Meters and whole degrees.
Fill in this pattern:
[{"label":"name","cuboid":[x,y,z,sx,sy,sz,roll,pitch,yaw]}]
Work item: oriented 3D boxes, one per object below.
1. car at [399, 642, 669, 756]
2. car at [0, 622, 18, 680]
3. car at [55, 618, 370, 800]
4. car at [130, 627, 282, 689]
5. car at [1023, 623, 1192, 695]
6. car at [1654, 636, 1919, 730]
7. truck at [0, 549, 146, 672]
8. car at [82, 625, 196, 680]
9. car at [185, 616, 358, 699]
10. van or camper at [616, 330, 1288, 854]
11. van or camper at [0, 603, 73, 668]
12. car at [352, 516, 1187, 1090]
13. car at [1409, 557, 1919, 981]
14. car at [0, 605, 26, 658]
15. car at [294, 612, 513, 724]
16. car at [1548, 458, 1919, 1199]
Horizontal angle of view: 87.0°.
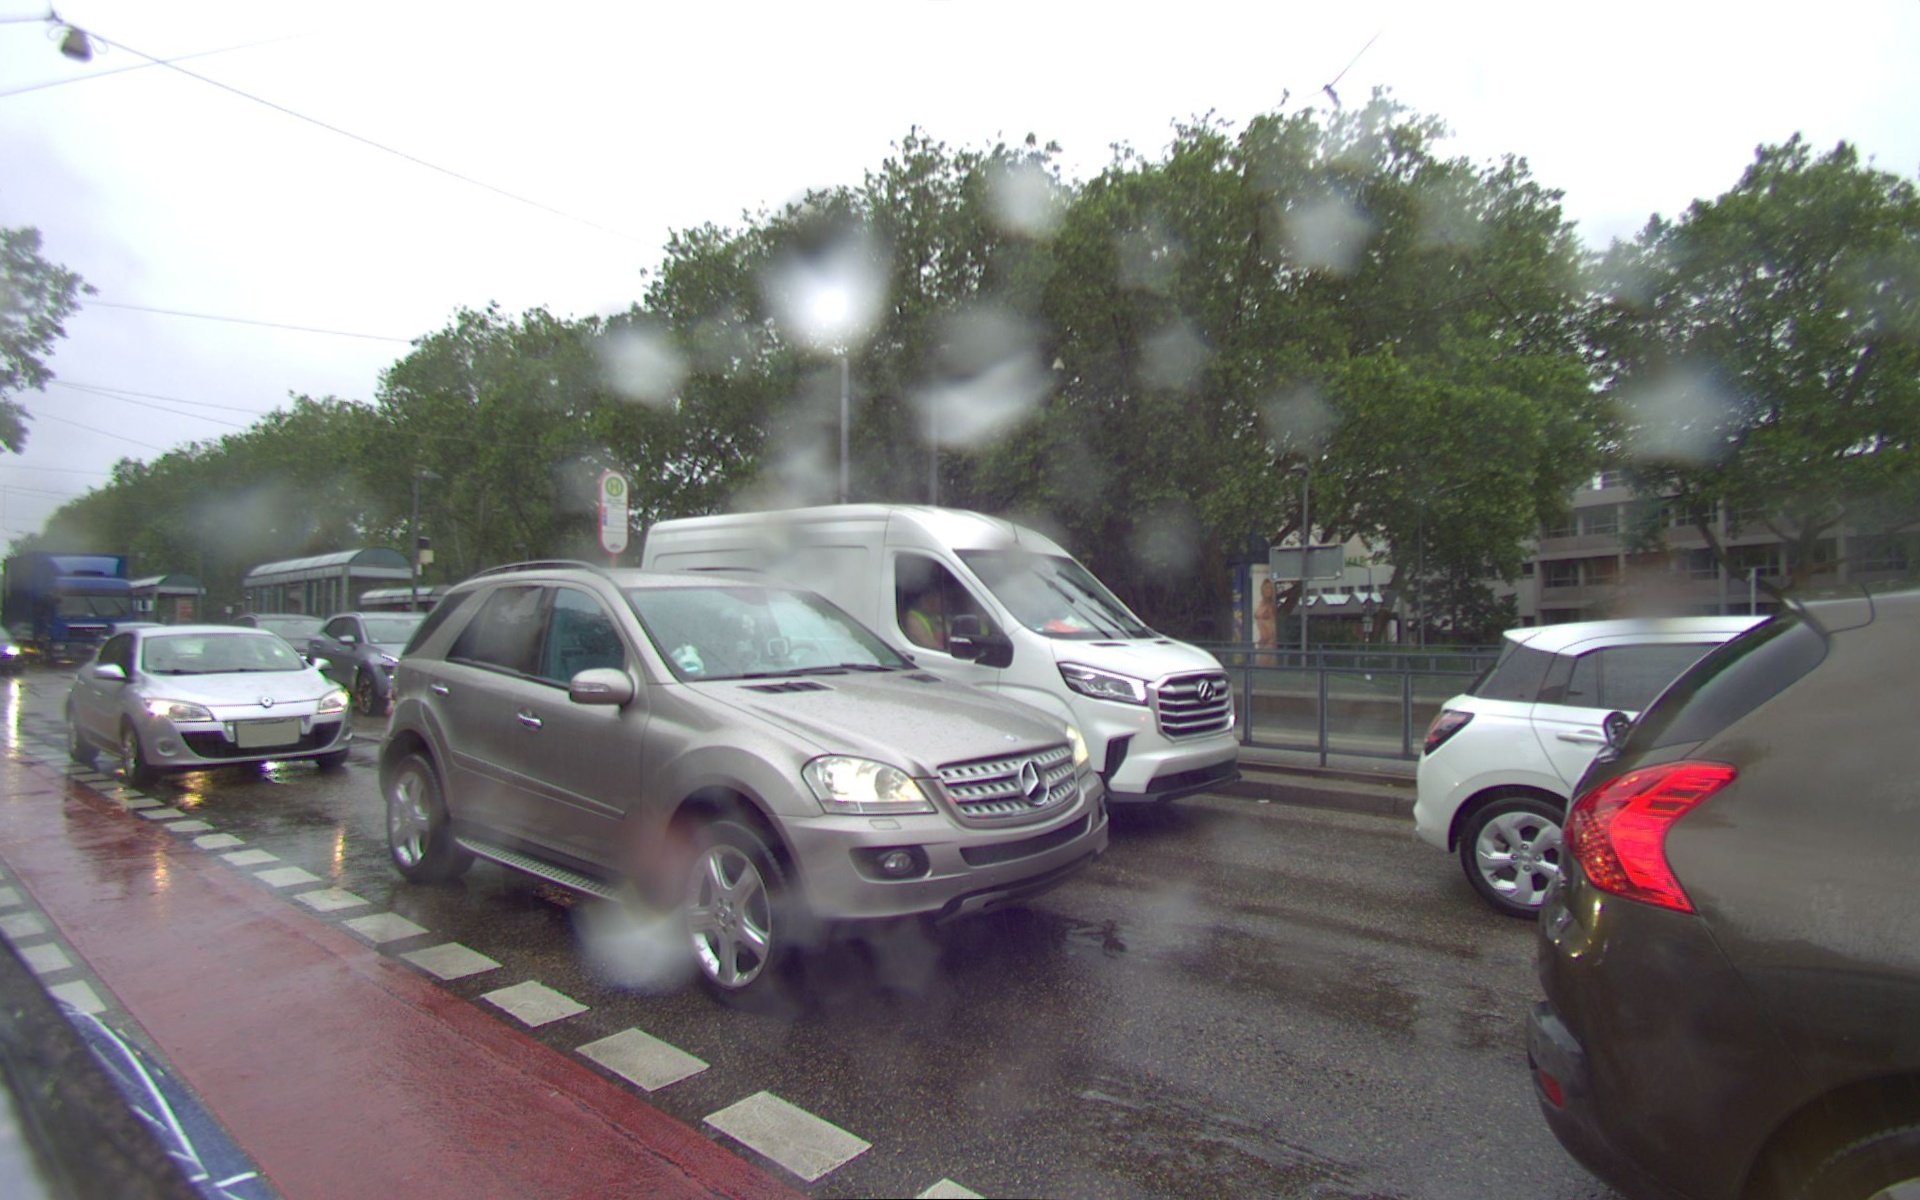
[{"label":"car","cuboid":[-5.451,1.135,12.706,4.084,1.126,1.448,-1,-1,40]},{"label":"car","cuboid":[-28.142,1.416,28.496,3.997,1.590,1.875,-1,-2,40]},{"label":"car","cuboid":[-7.788,0.951,10.419,3.998,1.489,1.750,-1,-1,40]},{"label":"car","cuboid":[-18.833,1.387,25.198,4.602,1.405,1.973,-1,-3,40]},{"label":"car","cuboid":[3.849,1.480,26.783,3.998,1.735,1.973,-1,-1,41]},{"label":"car","cuboid":[14.550,1.357,17.504,3.998,1.397,1.973,-1,-1,41]},{"label":"truck","cuboid":[-32.150,0.455,36.311,9.803,3.919,2.513,-1,-3,40]},{"label":"car","cuboid":[-24.448,1.505,30.088,4.074,1.498,1.871,-1,-2,40]},{"label":"car","cuboid":[-14.971,1.175,21.939,4.316,1.633,1.974,-1,-2,40]},{"label":"van or camper","cuboid":[-0.407,0.014,8.808,5.846,3.166,2.136,-1,-2,40]},{"label":"van or camper","cuboid":[-40.048,1.472,43.540,6.427,2.590,1.973,-1,0,41]},{"label":"car","cuboid":[-1.292,0.664,5.370,4.459,1.783,2.004,-1,-1,40]},{"label":"car","cuboid":[4.275,0.670,4.538,3.834,1.641,1.628,-1,-2,41]},{"label":"car","cuboid":[-46.856,1.520,48.987,5.727,2.445,1.972,-1,0,43]},{"label":"car","cuboid":[-9.480,1.061,17.086,4.454,1.636,1.894,-1,-2,43]},{"label":"car","cuboid":[3.285,0.595,1.232,4.170,1.681,1.815,-1,-1,41]}]
